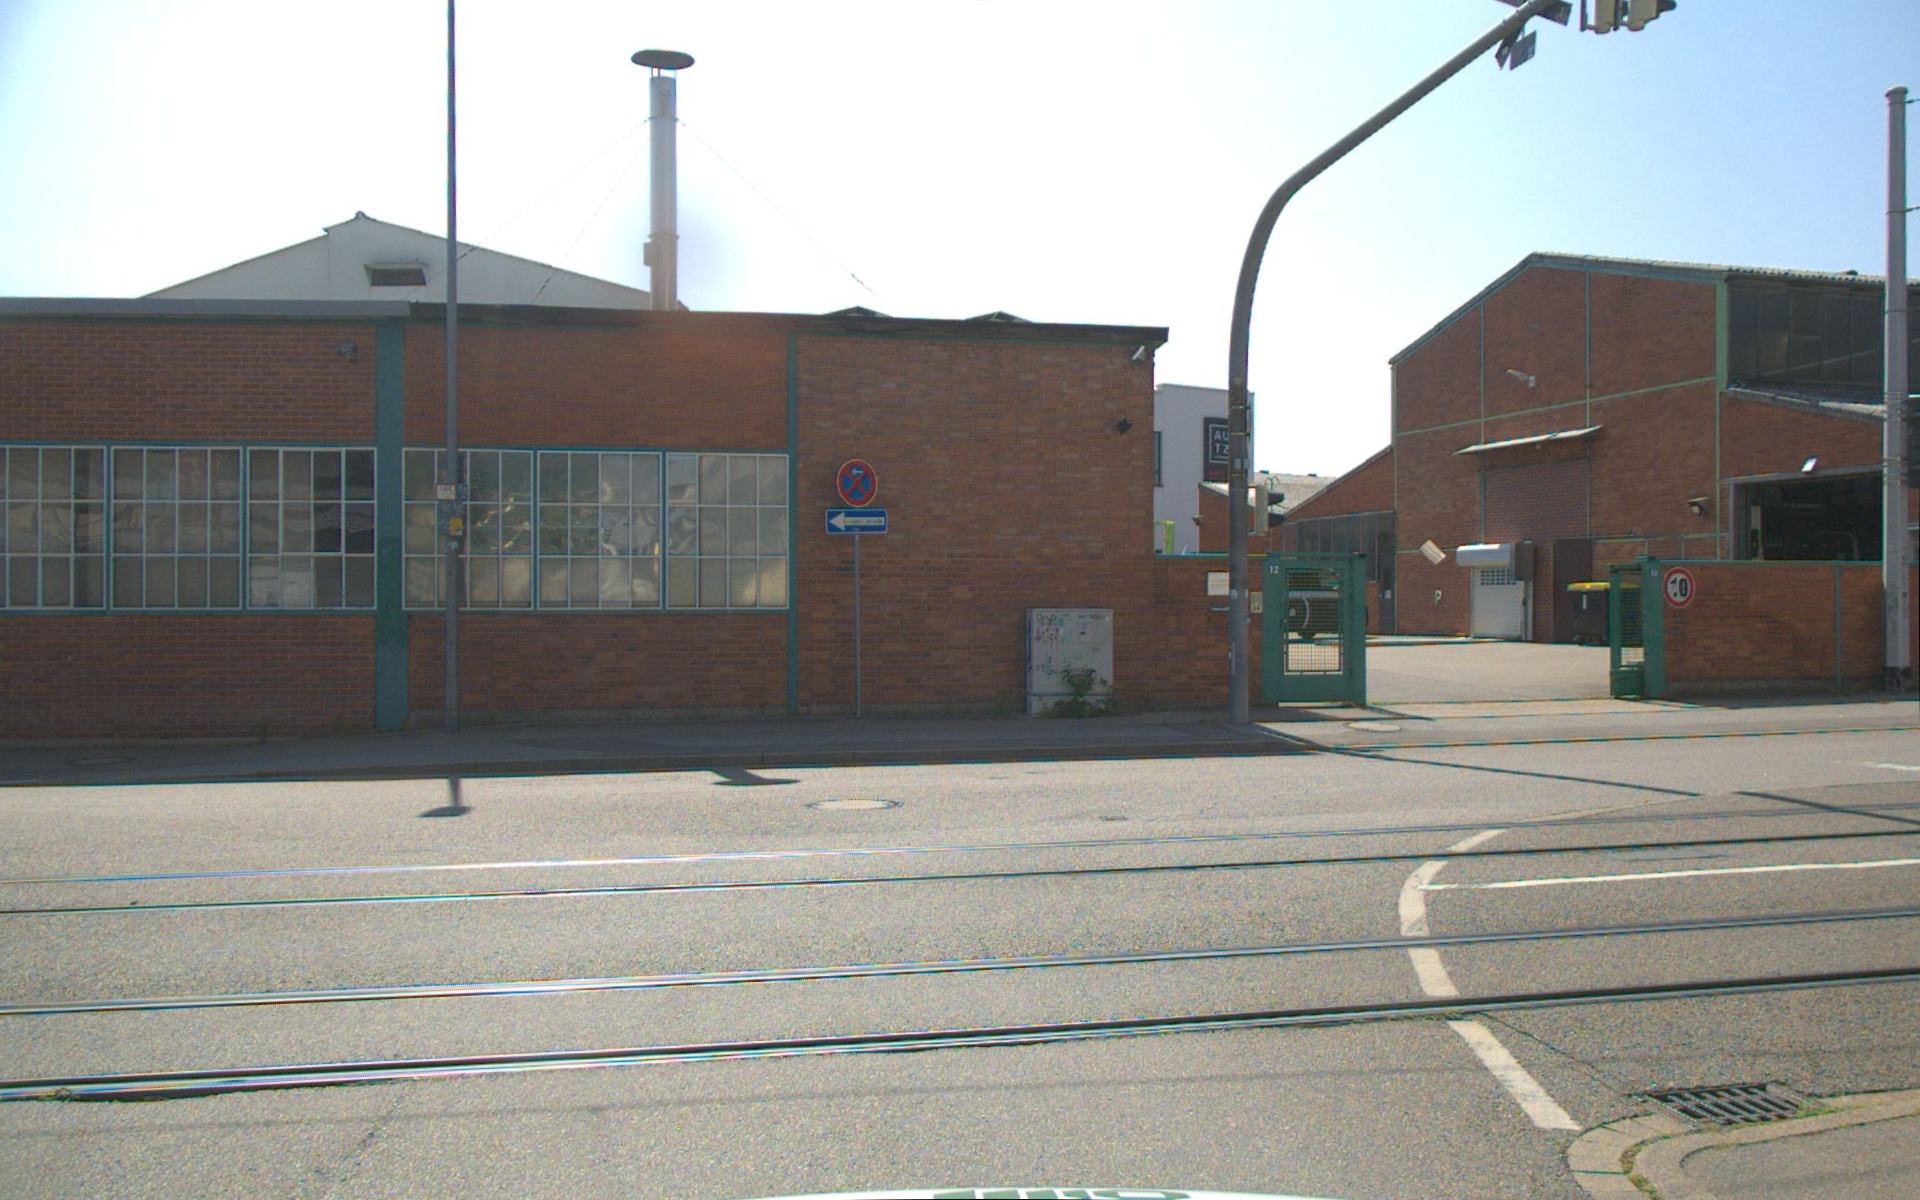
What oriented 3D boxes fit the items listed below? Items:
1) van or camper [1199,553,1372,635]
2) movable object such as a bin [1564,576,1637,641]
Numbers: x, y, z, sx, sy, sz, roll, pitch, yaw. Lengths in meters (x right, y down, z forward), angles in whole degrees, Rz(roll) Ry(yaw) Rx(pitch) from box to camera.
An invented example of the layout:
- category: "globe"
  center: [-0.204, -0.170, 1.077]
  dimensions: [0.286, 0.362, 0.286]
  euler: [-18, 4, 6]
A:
- category: "van or camper"
  center: [8.491, -0.131, 43.000]
  dimensions: [4.371, 1.933, 1.975]
  euler: [2, -1, -36]
- category: "movable object such as a bin"
  center: [13.720, 0.176, 35.449]
  dimensions: [0.958, 1.337, 1.147]
  euler: [-1, 0, -16]
